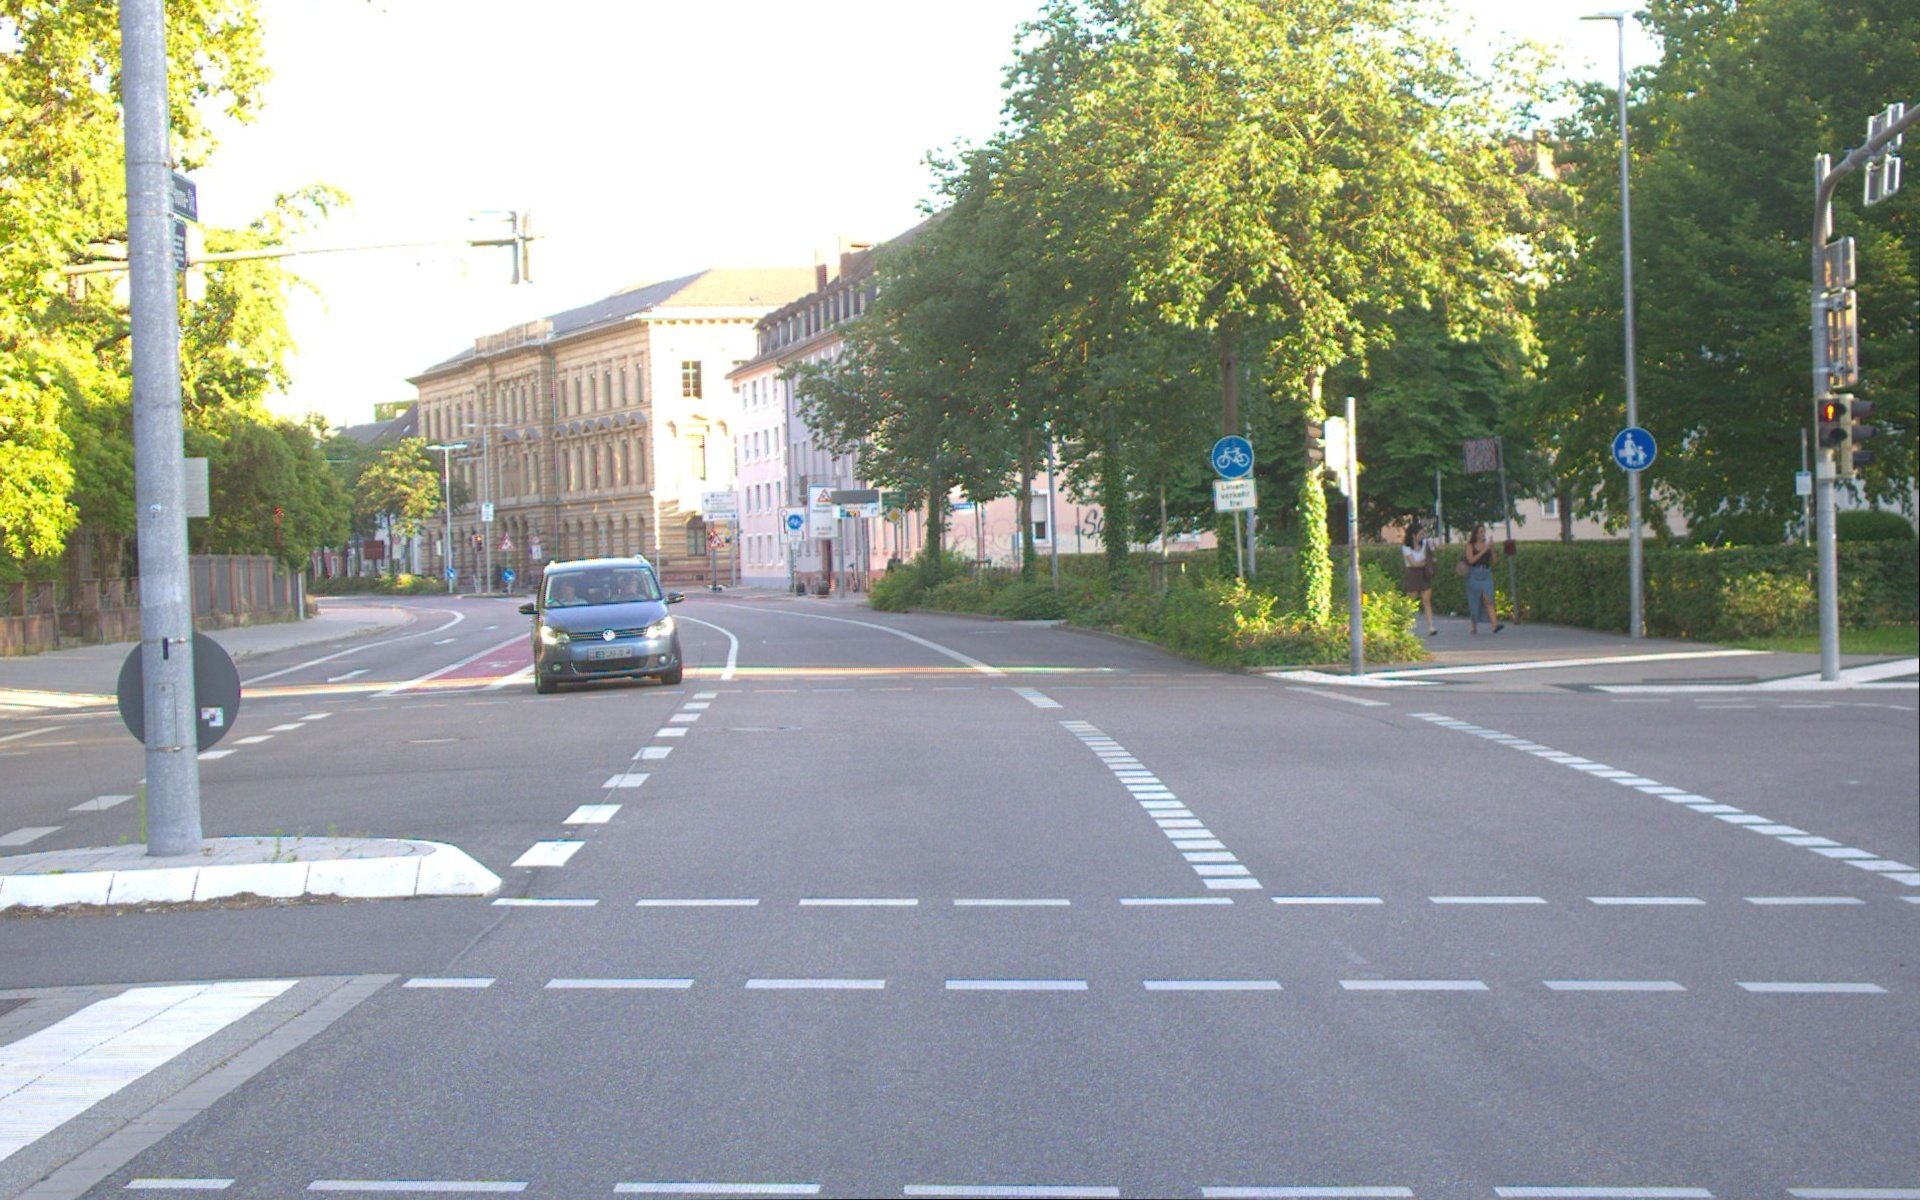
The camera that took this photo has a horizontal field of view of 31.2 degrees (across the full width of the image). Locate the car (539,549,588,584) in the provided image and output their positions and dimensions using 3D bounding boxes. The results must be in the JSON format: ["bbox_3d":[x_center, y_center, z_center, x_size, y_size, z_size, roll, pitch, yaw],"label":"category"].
[{"bbox_3d":[-19.601,-1.652,169.741,1.819,1.583,4.001,-3,1,-14],"label":"car"}]

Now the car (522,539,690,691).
[{"bbox_3d":[-4.415,0.154,43.399,1.849,1.714,4.296,-4,1,-4],"label":"car"}]

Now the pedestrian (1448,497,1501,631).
[{"bbox_3d":[7.793,-0.546,52.105,0.635,2.007,0.720,-1,1,-4],"label":"pedestrian"}]

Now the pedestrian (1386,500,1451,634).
[{"bbox_3d":[6.969,-0.505,52.313,0.870,2.007,0.722,0,1,-1],"label":"pedestrian"}]
